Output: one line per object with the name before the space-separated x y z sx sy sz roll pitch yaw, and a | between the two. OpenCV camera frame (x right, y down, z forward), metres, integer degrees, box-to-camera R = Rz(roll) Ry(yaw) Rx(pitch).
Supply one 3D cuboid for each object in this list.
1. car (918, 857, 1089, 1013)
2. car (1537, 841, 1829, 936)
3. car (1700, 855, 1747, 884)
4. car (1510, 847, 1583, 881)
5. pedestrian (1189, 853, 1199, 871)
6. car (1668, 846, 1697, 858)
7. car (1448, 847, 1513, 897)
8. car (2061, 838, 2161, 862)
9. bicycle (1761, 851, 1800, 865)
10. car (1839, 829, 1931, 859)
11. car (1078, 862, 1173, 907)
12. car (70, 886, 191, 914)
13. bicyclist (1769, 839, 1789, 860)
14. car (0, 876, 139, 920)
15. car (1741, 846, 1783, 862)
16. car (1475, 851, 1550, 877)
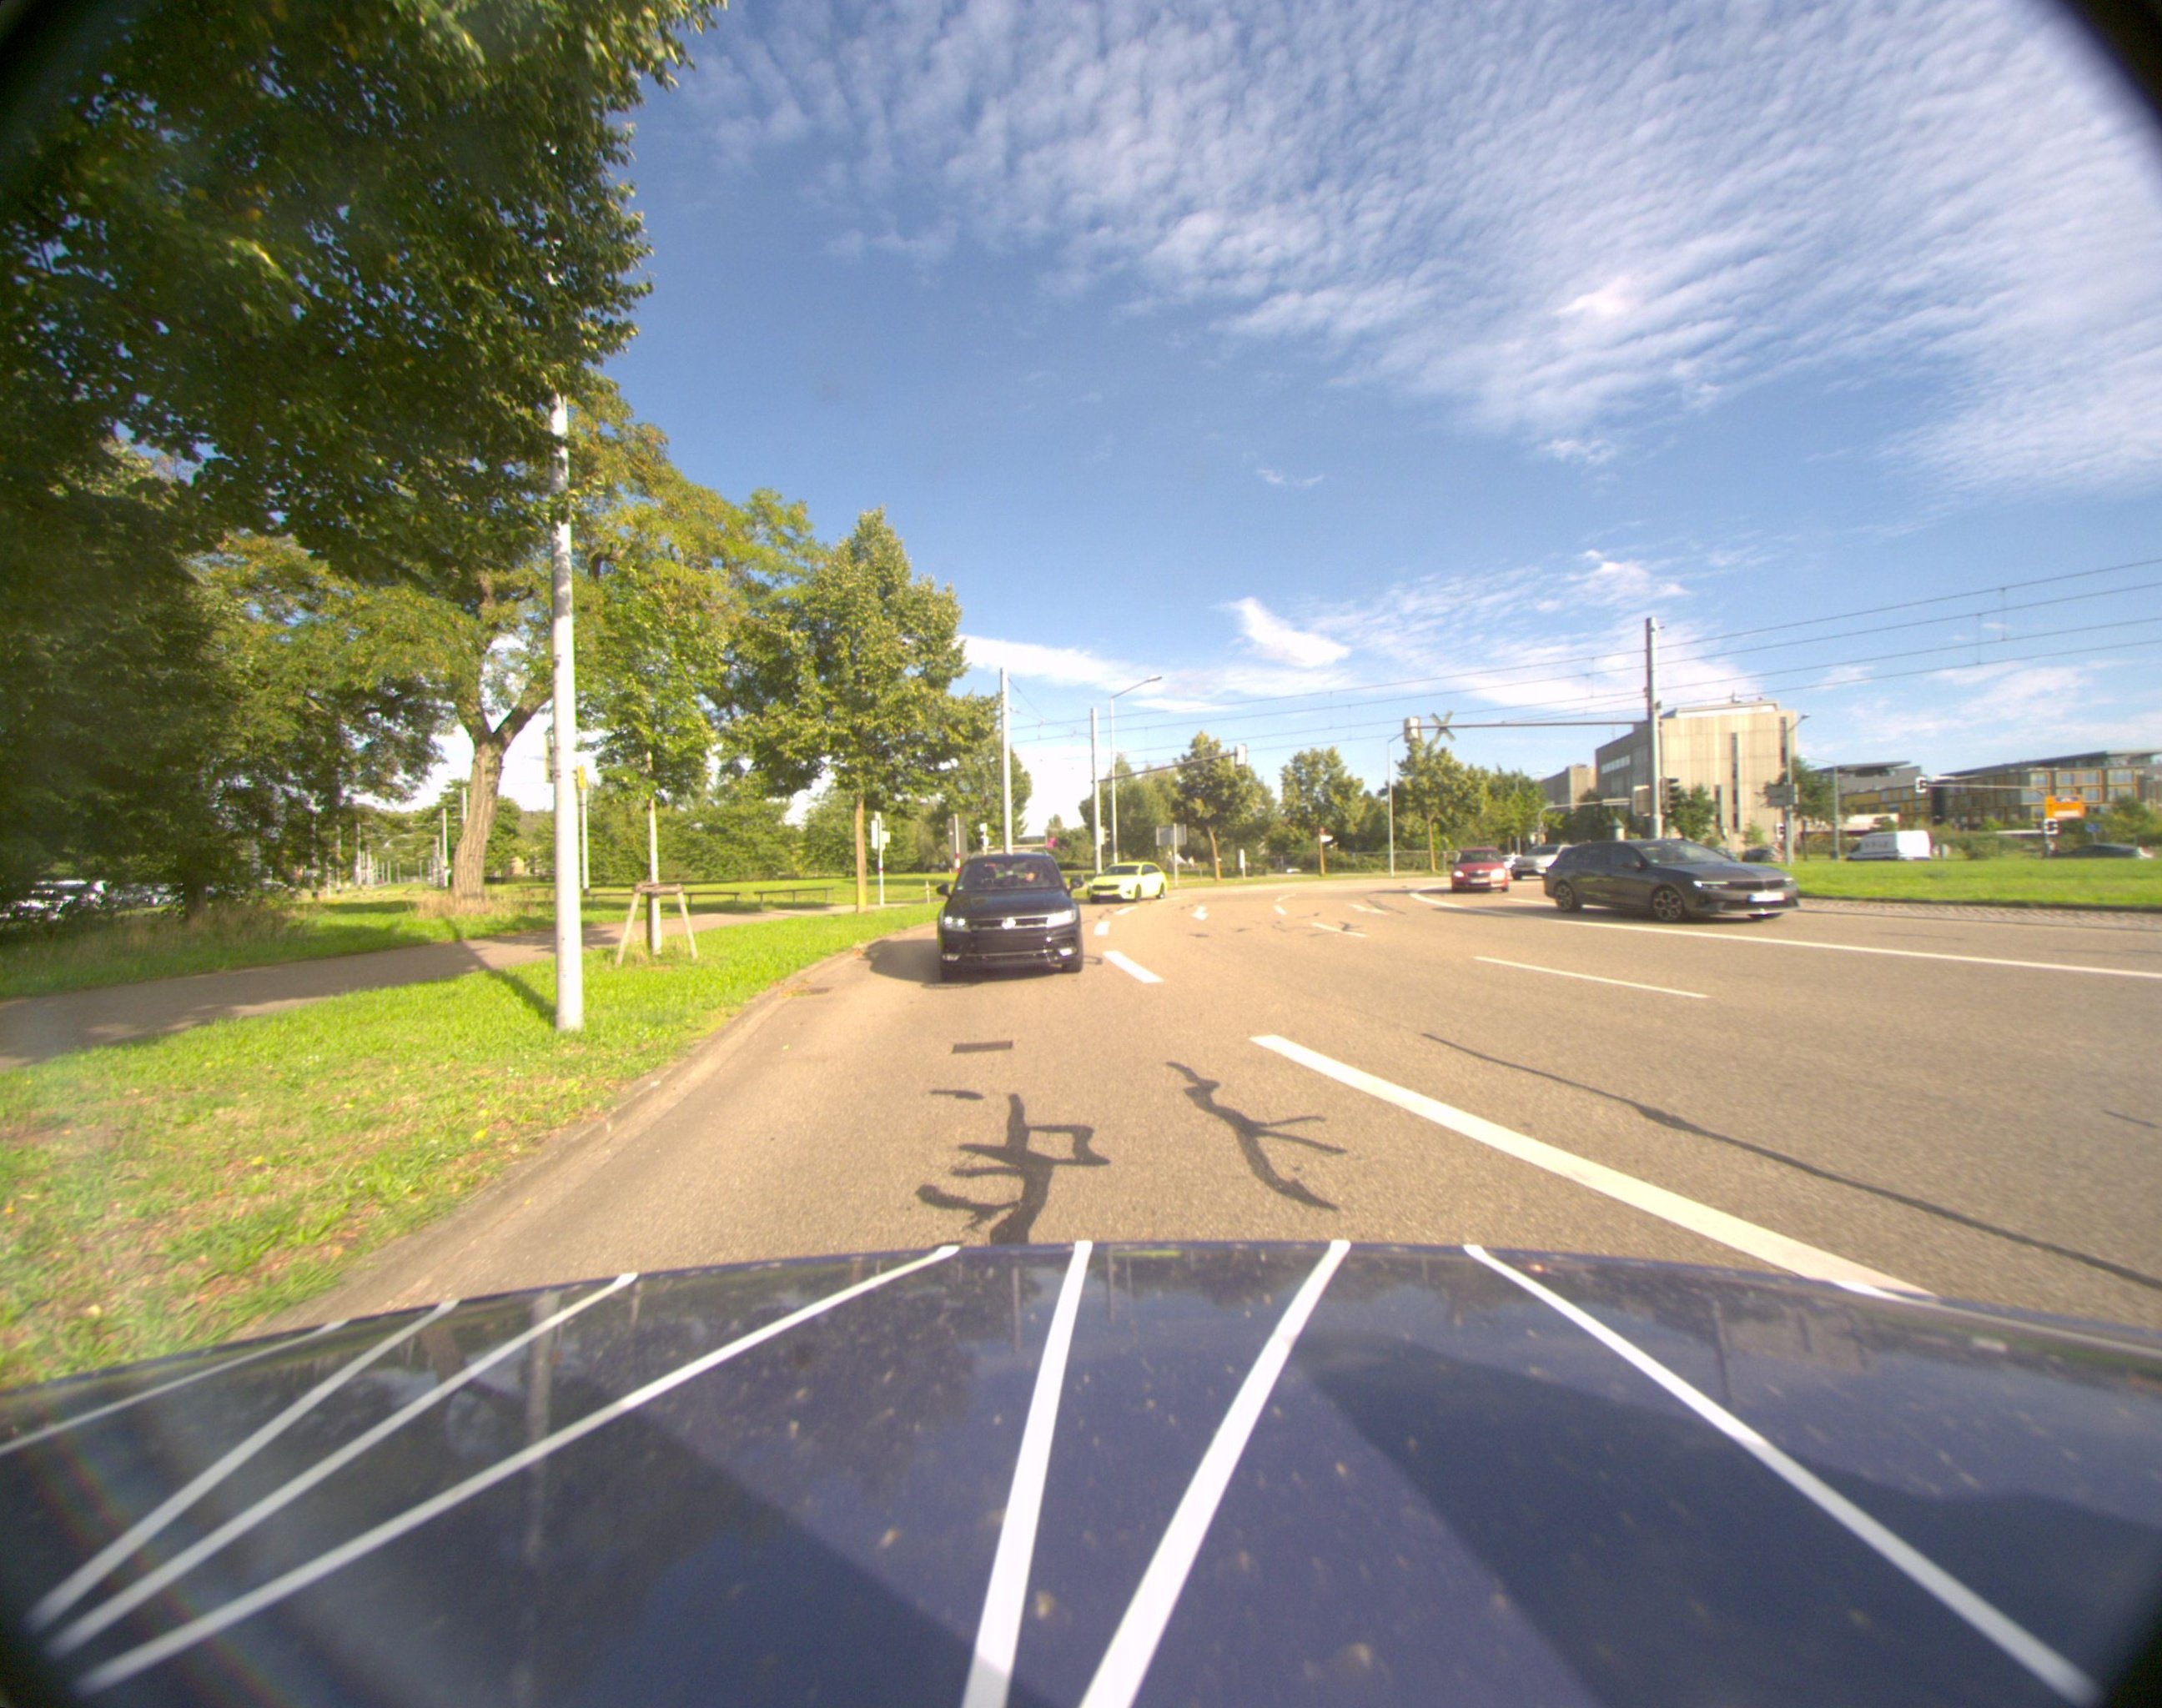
car | -0.891 0.920 11.034 1.872 1.685 5.014 -1 0 0
car | 10.703 0.567 14.043 1.823 1.412 4.447 -2 -1 0
car | 40.459 0.947 47.809 1.994 1.652 4.813 -1 0 44
car | 21.560 0.423 35.134 4.235 1.466 1.690 -1 -1 -42
pedestrian | 10.714 0.741 72.066 0.669 1.722 0.595 -2 1 -42
car | 77.593 -0.315 98.135 1.682 1.492 3.999 -2 0 19
car | 13.250 0.551 25.253 1.691 1.466 4.235 -3 -1 27
car | 58.847 -0.199 42.946 1.684 1.258 3.994 1 0 0
bicycle | 53.169 0.288 57.780 1.956 1.001 1.004 -1 0 25
car | 63.618 -0.757 60.317 2.062 2.250 6.030 1 0 14
car | 1.751 1.067 28.130 1.892 1.412 4.616 -3 -1 25
car | -60.695 2.919 48.645 4.477 1.495 1.856 -1 0 -36
bicyclist | 53.083 -0.314 57.795 0.864 1.546 0.999 -1 0 25
car | -52.834 2.242 39.026 5.122 1.995 2.311 -1 0 -36
car | 69.109 0.013 77.183 1.682 1.492 3.999 1 0 17
car | 30.042 0.663 52.872 4.808 1.652 1.996 -1 0 -22
